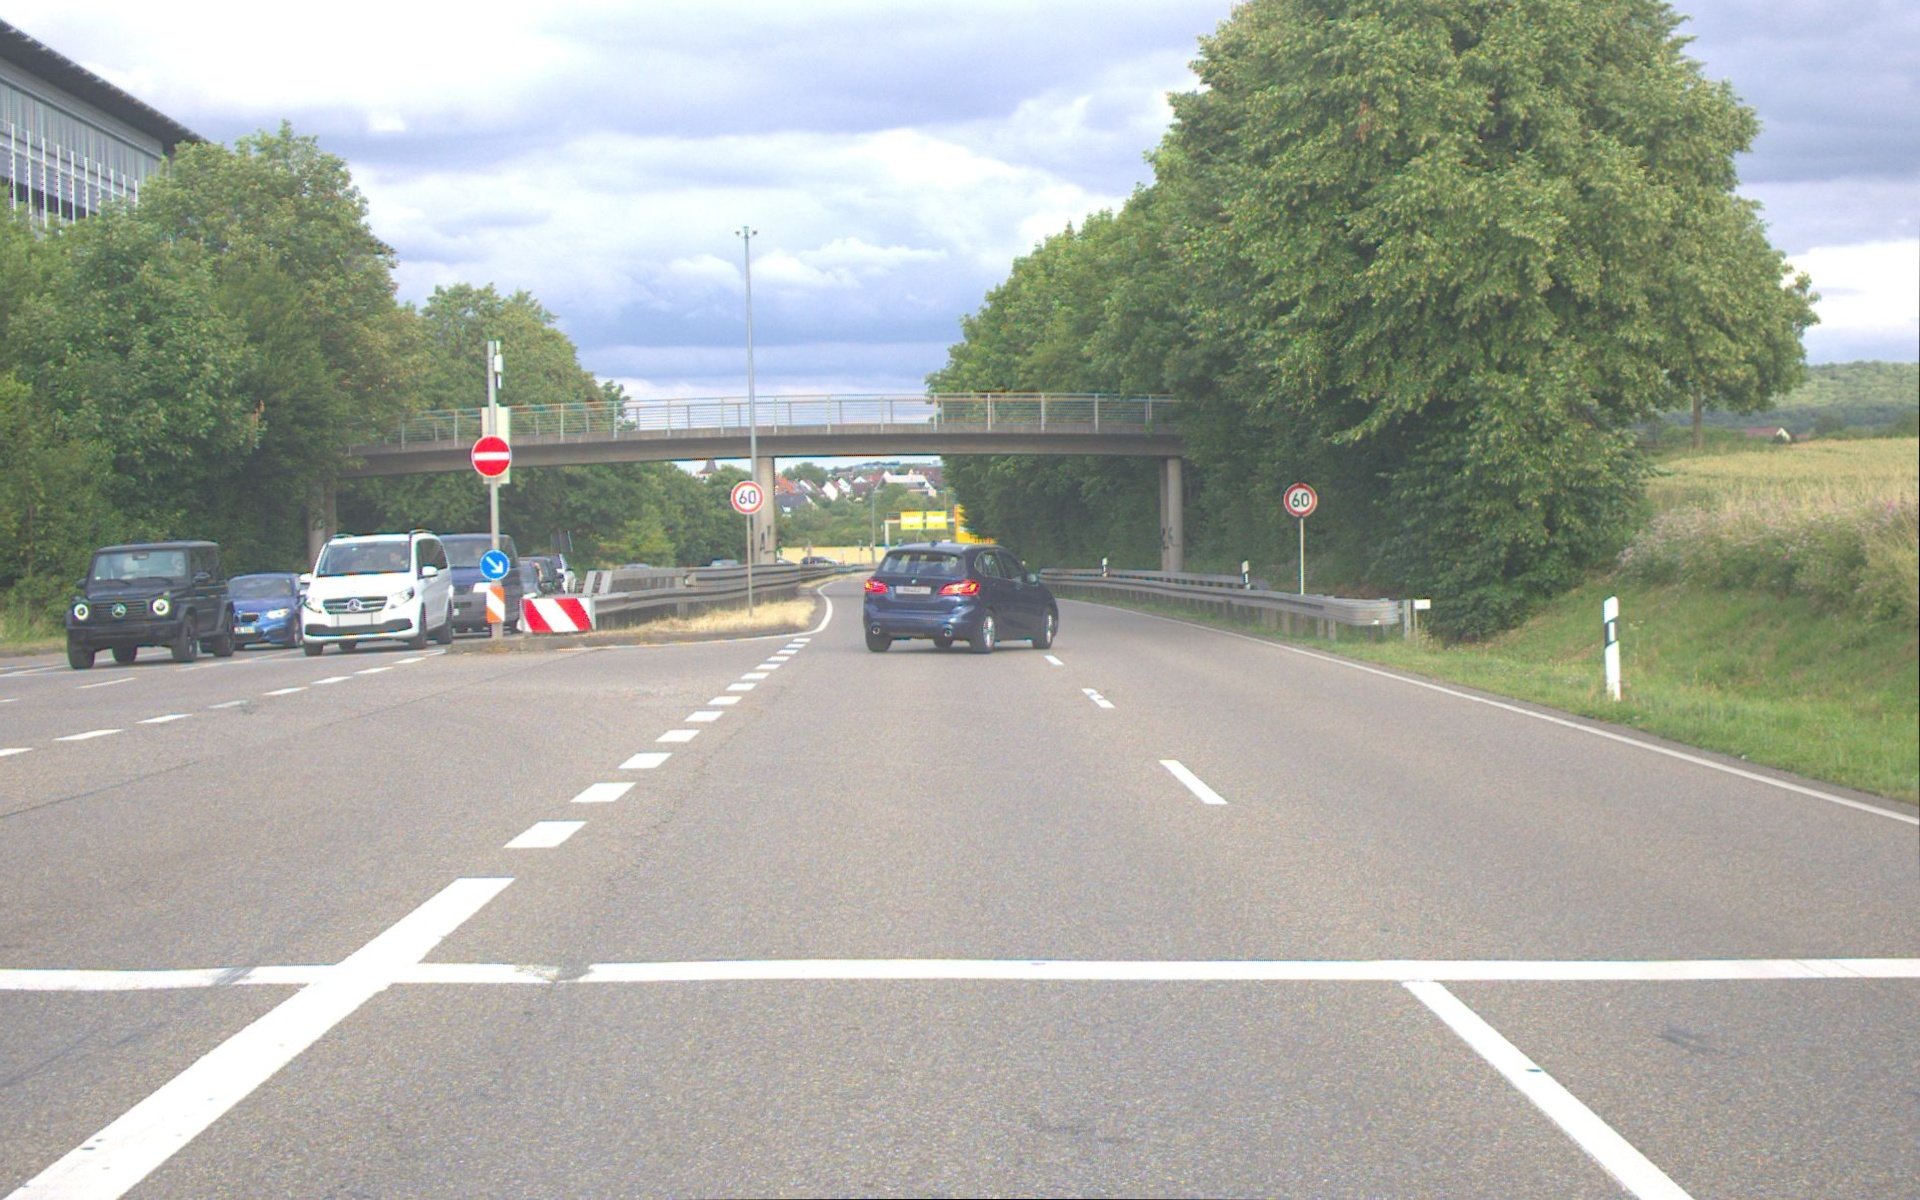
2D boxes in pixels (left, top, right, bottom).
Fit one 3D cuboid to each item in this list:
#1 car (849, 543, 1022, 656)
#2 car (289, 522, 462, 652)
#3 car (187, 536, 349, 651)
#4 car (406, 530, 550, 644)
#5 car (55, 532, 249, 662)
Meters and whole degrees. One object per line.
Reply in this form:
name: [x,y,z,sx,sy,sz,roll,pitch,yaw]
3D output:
car: [-0.305,-0.030,49.645,1.880,1.547,3.999,1,1,9]
car: [-9.518,-0.236,56.363,2.083,2.007,5.217,1,1,-2]
car: [-12.777,-0.143,63.758,2.083,2.007,5.217,1,1,-2]
car: [-8.933,-0.265,64.100,2.083,2.007,5.217,1,1,-2]
car: [-13.151,-0.071,56.257,2.083,2.007,5.217,1,1,-2]
